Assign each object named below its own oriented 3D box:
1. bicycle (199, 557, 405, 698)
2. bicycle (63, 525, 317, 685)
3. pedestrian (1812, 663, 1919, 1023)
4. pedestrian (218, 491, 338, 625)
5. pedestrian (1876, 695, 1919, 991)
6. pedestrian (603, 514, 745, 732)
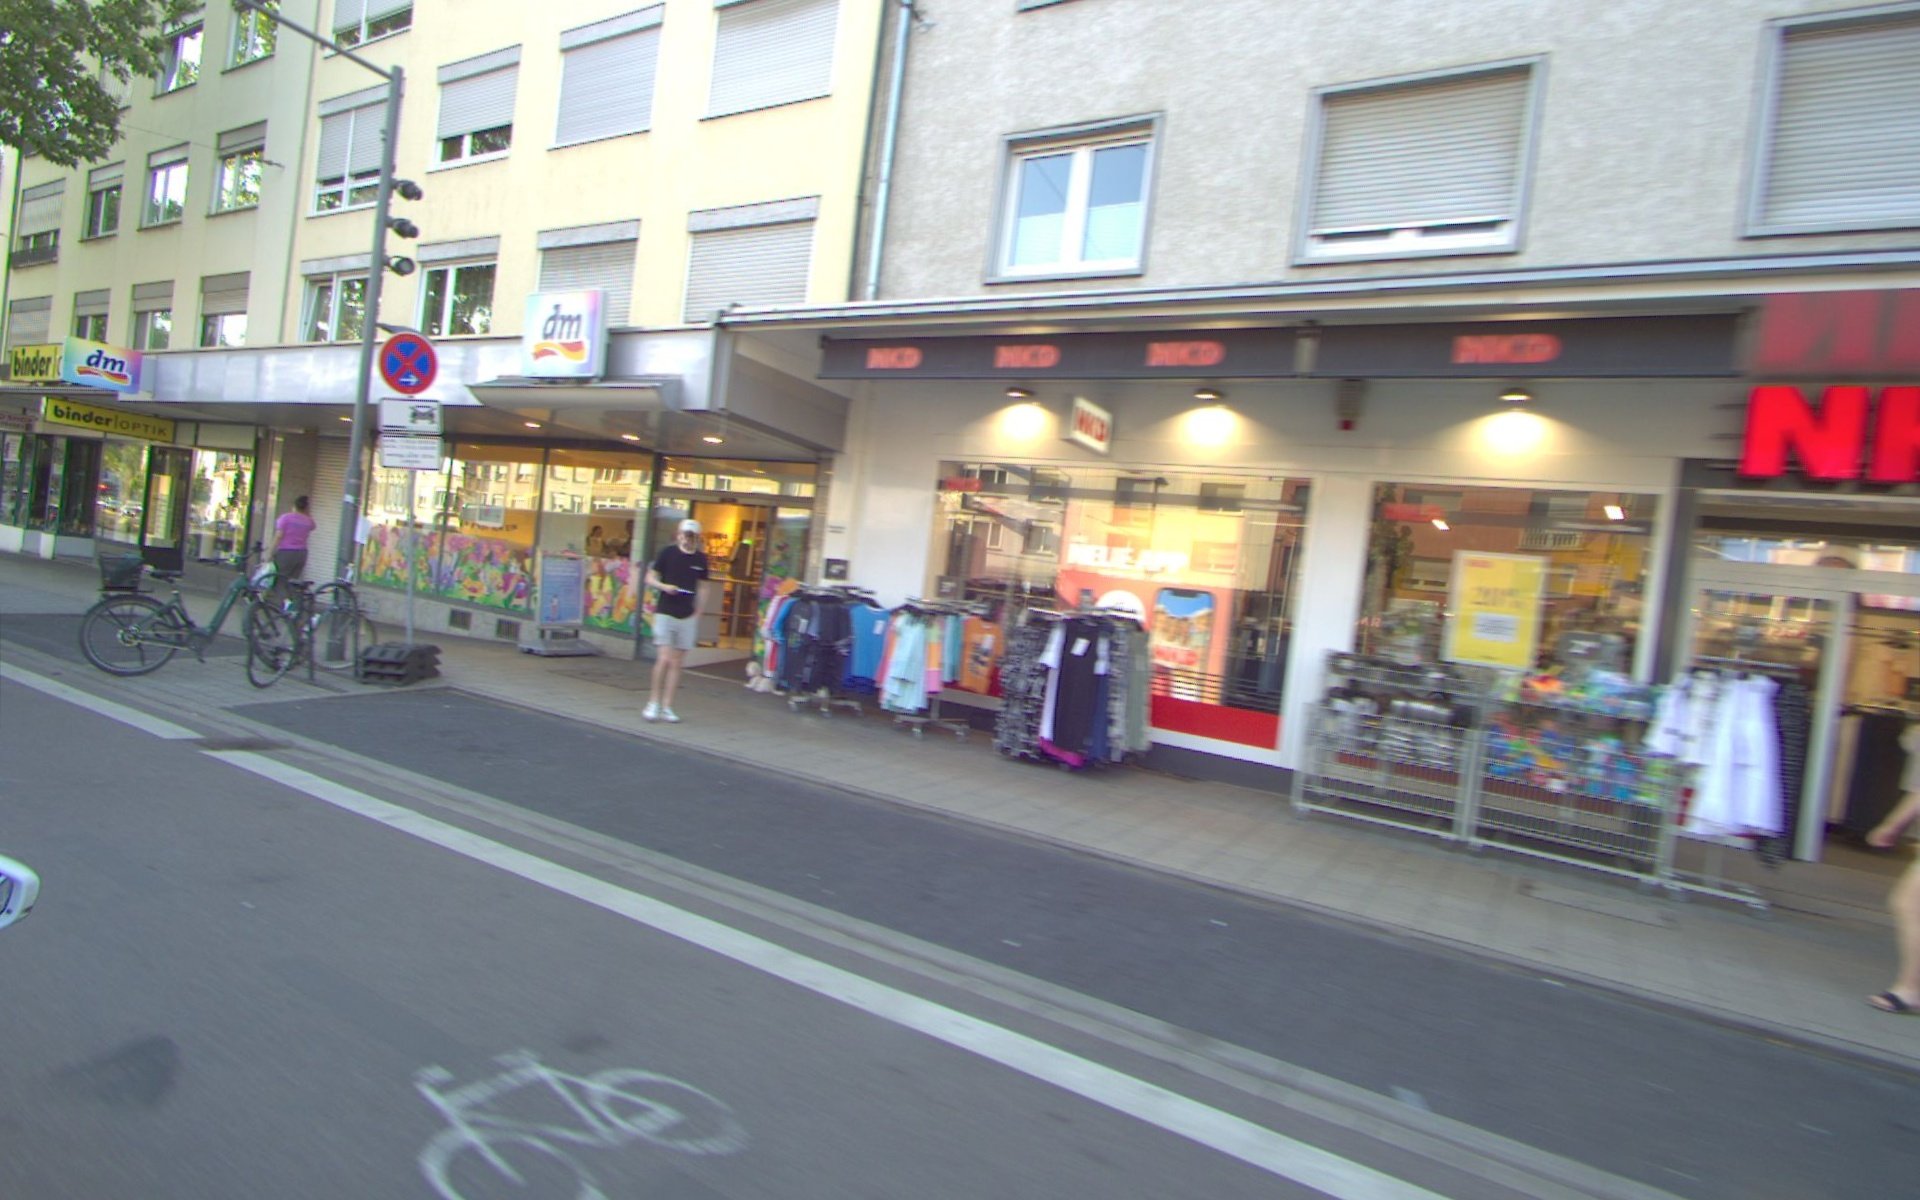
[{"bbox_3d":[-6.129,0.199,9.496,0.651,1.141,1.790,5,4,4],"label":"bicycle"},{"bbox_3d":[-7.106,0.031,9.352,0.684,1.331,1.780,8,6,42],"label":"bicycle"},{"bbox_3d":[4.837,1.185,4.828,0.881,1.650,0.546,8,3,31],"label":"pedestrian"},{"bbox_3d":[-9.784,-0.594,14.441,1.115,1.786,0.968,6,1,31],"label":"pedestrian"},{"bbox_3d":[5.525,1.330,5.222,0.881,1.522,0.541,8,3,31],"label":"pedestrian"},{"bbox_3d":[-2.606,0.188,9.130,0.918,1.825,0.770,9,5,44],"label":"pedestrian"}]
